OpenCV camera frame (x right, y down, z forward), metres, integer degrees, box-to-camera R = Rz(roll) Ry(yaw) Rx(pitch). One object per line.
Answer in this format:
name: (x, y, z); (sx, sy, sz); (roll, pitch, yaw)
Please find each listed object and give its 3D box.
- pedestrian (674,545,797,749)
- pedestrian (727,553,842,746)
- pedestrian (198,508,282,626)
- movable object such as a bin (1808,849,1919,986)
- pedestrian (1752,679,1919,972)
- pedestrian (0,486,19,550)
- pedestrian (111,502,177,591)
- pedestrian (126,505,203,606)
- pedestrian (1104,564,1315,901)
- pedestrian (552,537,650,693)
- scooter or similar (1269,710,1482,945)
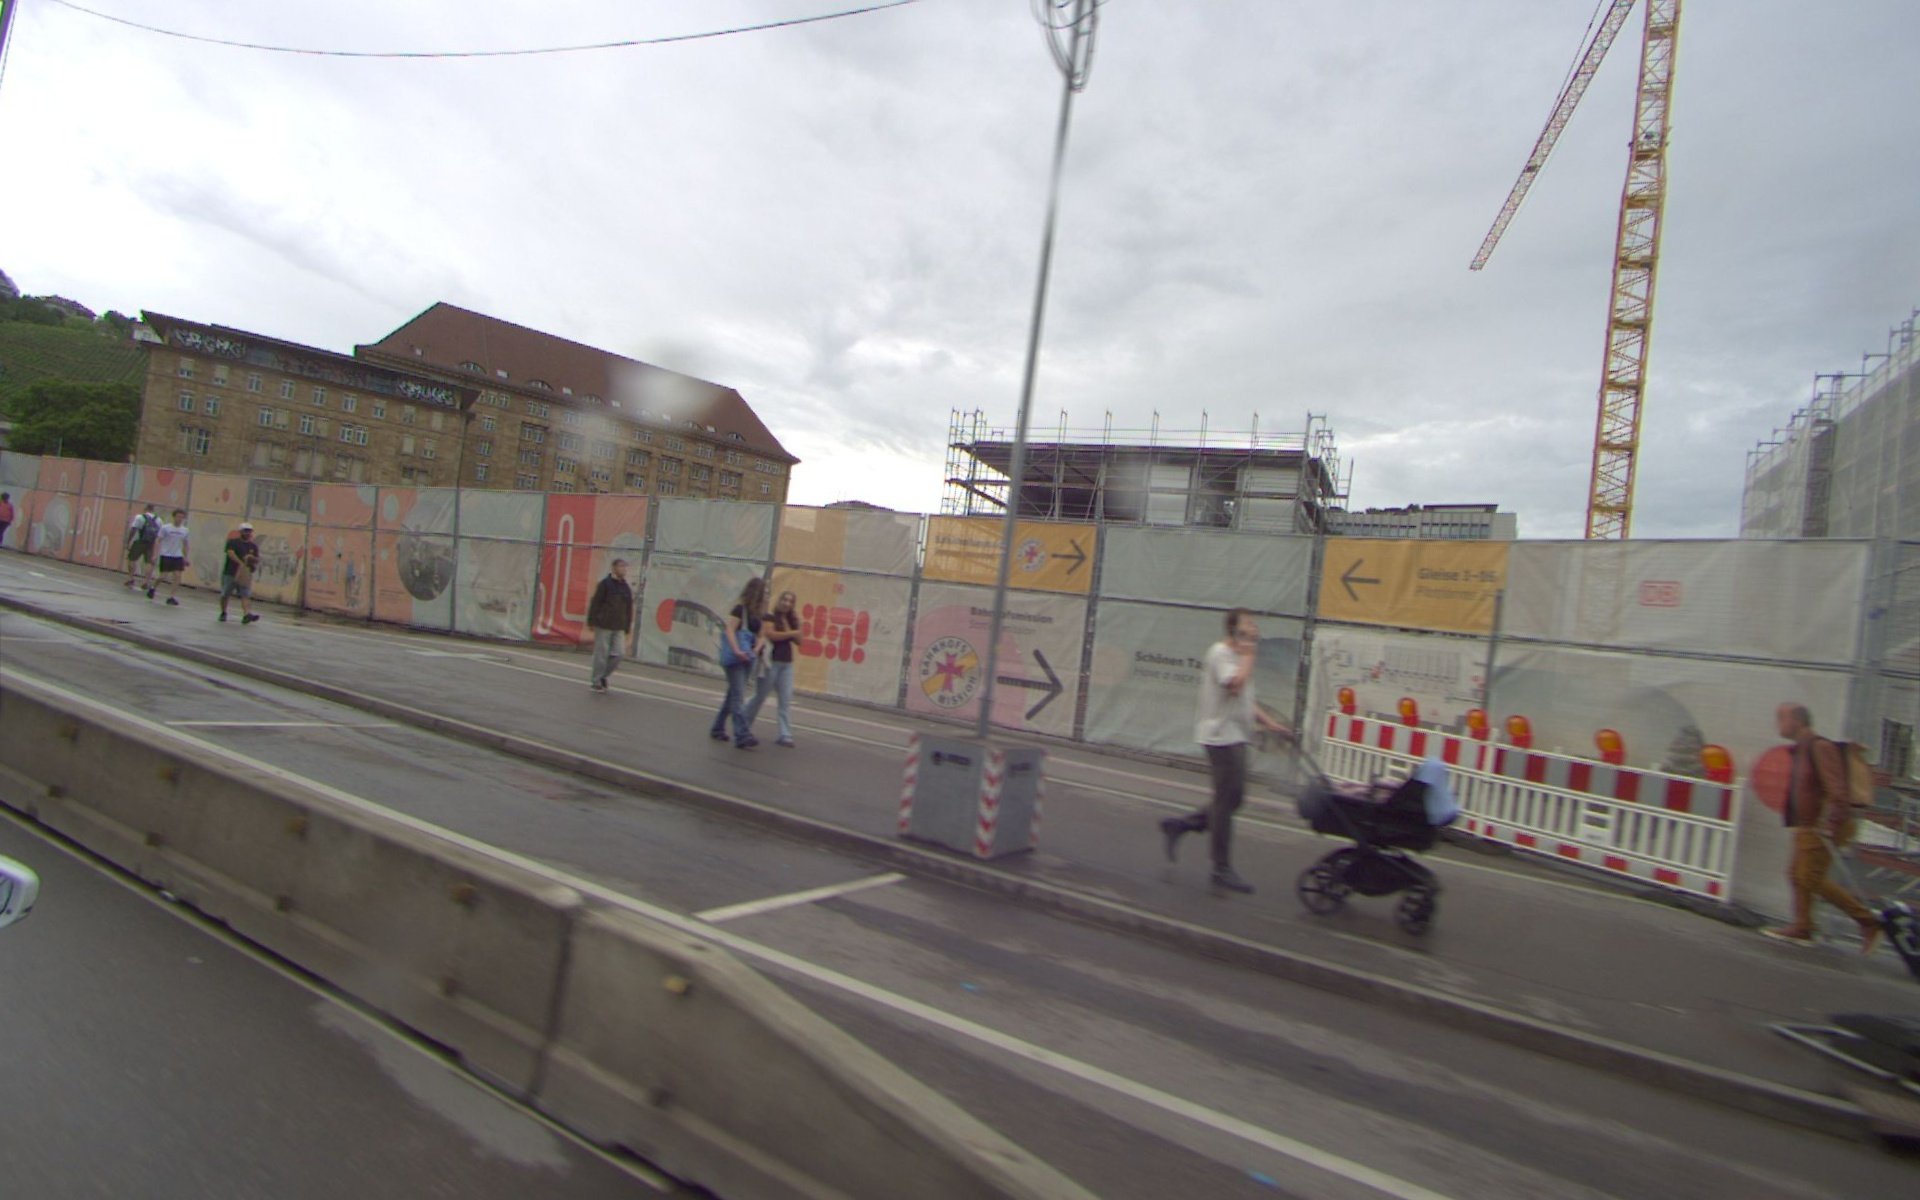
pedestrian: (-2.231, 0.476, 10.043); (0.682, 1.911, 0.685); (7, -1, 33)
pedestrian: (-1.854, 0.529, 10.652); (0.682, 1.911, 0.685); (7, -1, 33)
pedestrian: (-11.604, -0.523, 16.218); (0.823, 1.760, 0.644); (7, -1, 30)
movable object such as a bin: (6.381, 2.152, 6.818); (0.593, 0.743, 0.771); (9, -2, -32)
pedestrian: (6.378, 1.593, 7.245); (0.761, 1.917, 0.649); (8, -1, -29)
pedestrian: (-29.561, -2.557, 30.813); (0.697, 1.888, 0.721); (7, -1, 29)
pedestrian: (-18.633, -1.216, 22.974); (0.973, 1.888, 0.705); (7, -1, 32)
pedestrian: (-15.165, -0.847, 19.187); (0.892, 1.760, 0.685); (7, -1, 29)
pedestrian: (1.714, 0.858, 6.873); (0.956, 2.040, 0.804); (7, -1, 33)
pedestrian: (-4.653, 0.202, 13.066); (0.681, 1.911, 0.685); (7, -1, 29)
scooter or similar: (2.644, 1.387, 6.403); (1.027, 1.212, 0.666); (7, -1, 32)
